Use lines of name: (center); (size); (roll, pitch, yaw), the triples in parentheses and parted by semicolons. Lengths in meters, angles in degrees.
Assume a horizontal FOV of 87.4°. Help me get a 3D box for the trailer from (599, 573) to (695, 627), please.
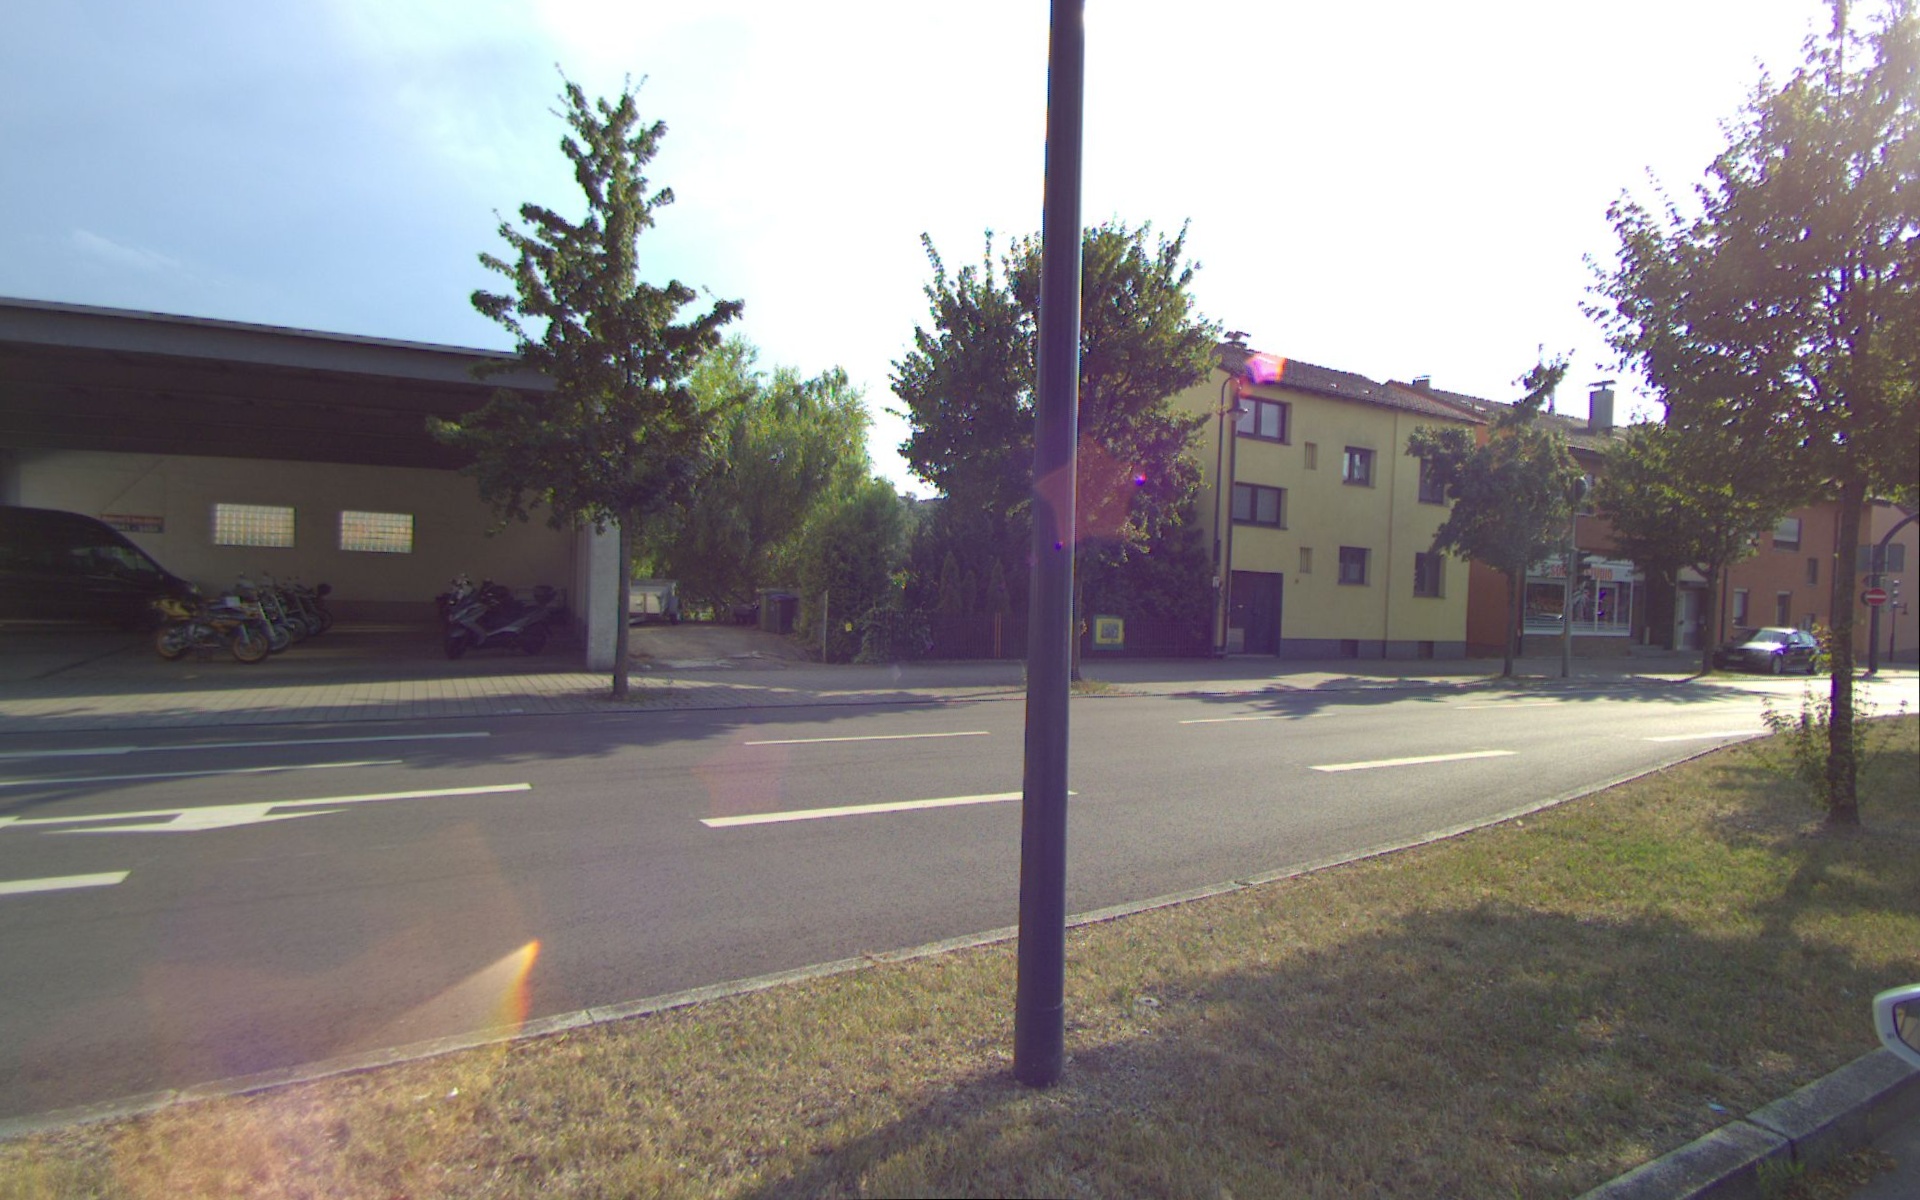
trailer: (-8.204, -0.005, 26.621); (1.698, 1.280, 3.995); (1, 0, -7)

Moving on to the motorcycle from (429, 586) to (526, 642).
motorcycle: (-11.753, 0.313, 24.541); (0.621, 1.314, 2.113); (1, 2, 36)

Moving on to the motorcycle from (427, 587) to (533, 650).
motorcycle: (-10.729, 0.384, 22.540); (0.621, 1.314, 2.113); (1, 2, 36)

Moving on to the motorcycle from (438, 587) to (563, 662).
motorcycle: (-8.605, 0.430, 18.901); (0.621, 1.314, 2.113); (1, 2, 36)

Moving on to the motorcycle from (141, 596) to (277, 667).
motorcycle: (-12.482, 0.503, 16.700); (1.993, 1.101, 0.631); (1, 0, 12)

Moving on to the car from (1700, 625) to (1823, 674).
car: (25.982, 1.594, 32.561); (3.953, 1.319, 1.728); (1, 4, -30)

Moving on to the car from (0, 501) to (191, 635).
car: (-20.439, -0.680, 22.094); (1.962, 2.789, 5.280); (1, 0, 26)

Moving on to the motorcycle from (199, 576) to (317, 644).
motorcycle: (-14.739, 0.206, 21.108); (2.219, 1.354, 0.631); (1, 0, 10)

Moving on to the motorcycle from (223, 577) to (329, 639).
motorcycle: (-15.871, 0.183, 23.317); (2.219, 1.354, 0.631); (1, 0, 10)

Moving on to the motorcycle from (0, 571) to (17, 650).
motorcycle: (-17.273, 0.169, 16.727); (0.619, 1.380, 2.225); (1, 0, 24)

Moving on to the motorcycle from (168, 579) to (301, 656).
motorcycle: (-13.618, 0.319, 18.865); (2.219, 1.354, 0.631); (1, 0, 10)

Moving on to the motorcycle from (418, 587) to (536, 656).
motorcycle: (-9.798, 0.402, 20.463); (0.621, 1.314, 2.113); (1, 2, 36)

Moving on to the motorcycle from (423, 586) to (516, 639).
motorcycle: (-12.635, 0.293, 25.924); (0.621, 1.314, 2.113); (1, 2, 36)

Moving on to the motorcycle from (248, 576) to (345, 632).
motorcycle: (-16.896, 0.104, 25.576); (2.219, 1.354, 0.631); (1, 0, 10)

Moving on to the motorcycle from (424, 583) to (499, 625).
motorcycle: (-15.947, 0.103, 32.180); (0.621, 1.314, 2.113); (1, 2, 36)

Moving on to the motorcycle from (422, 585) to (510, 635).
motorcycle: (-13.500, 0.242, 27.522); (0.621, 1.314, 2.113); (1, 2, 36)
